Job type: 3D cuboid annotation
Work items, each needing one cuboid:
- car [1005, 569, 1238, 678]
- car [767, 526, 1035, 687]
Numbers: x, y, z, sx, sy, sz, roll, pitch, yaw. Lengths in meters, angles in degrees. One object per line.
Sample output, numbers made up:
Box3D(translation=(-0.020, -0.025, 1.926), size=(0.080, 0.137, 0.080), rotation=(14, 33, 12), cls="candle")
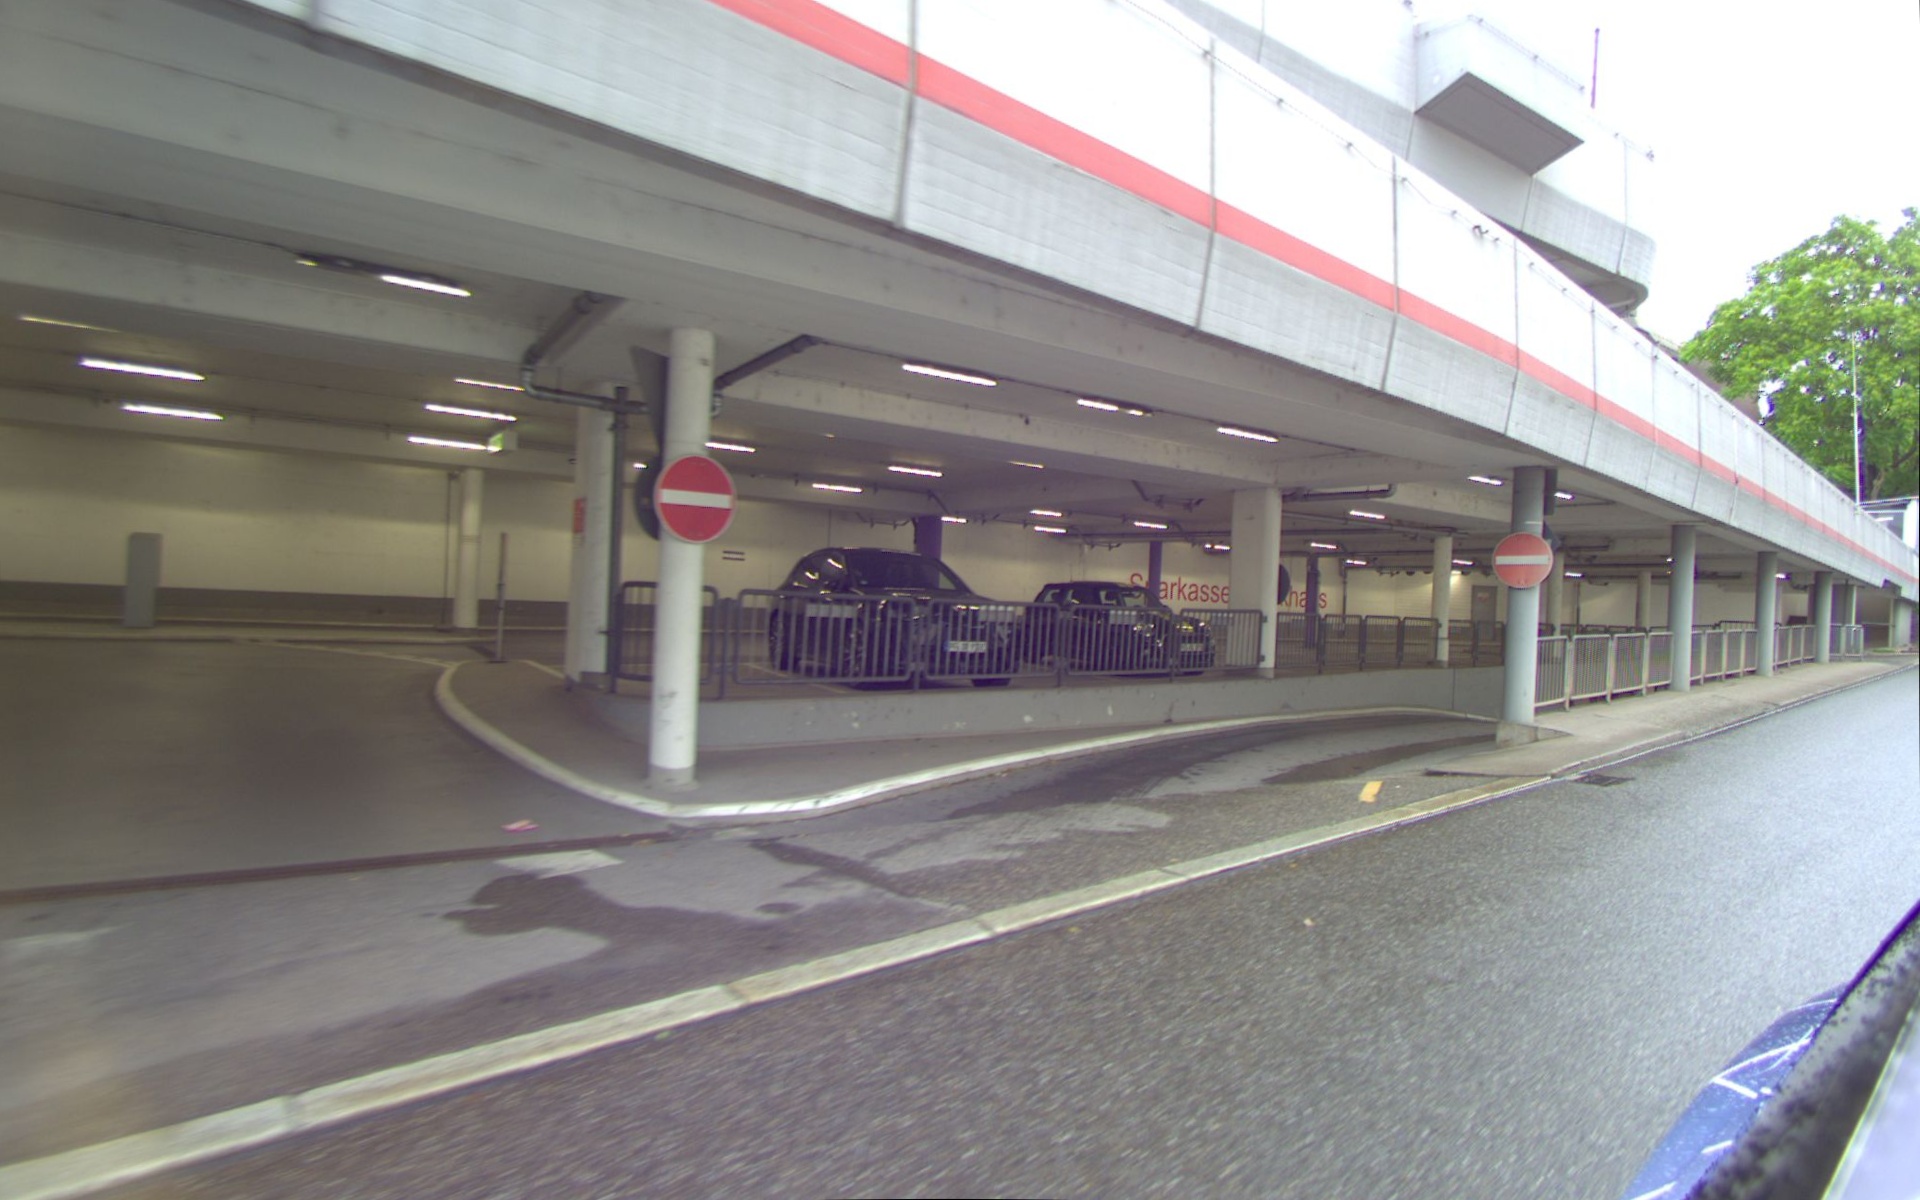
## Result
Box3D(translation=(2.499, 0.316, 16.540), size=(1.770, 1.524, 3.740), rotation=(2, 1, -29), cls="car")
Box3D(translation=(-0.976, 0.061, 12.858), size=(1.784, 1.661, 4.598), rotation=(-1, 0, -26), cls="car")
